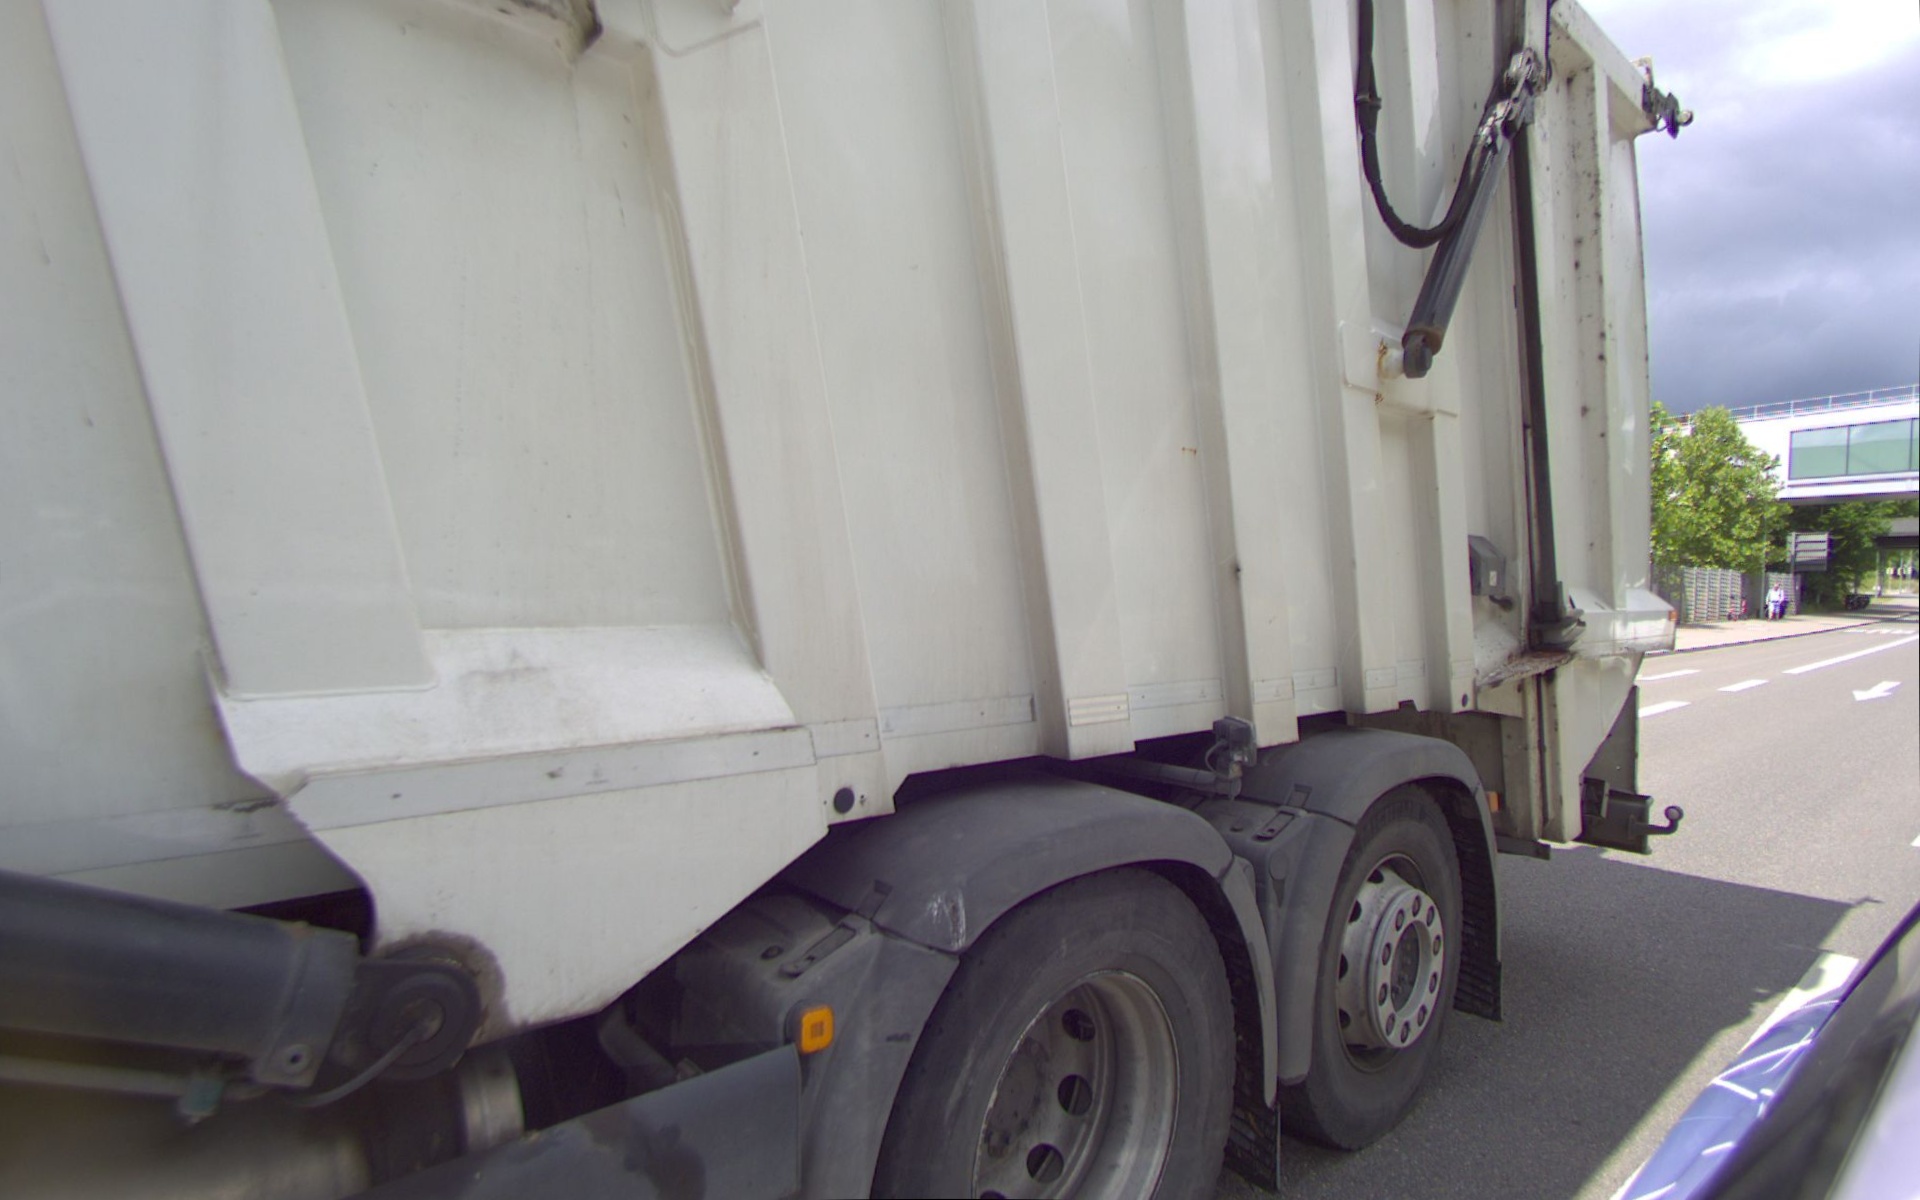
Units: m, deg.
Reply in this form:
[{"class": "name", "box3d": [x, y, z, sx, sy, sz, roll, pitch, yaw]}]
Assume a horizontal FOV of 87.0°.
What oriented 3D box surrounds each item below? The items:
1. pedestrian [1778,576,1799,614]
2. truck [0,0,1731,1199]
[{"class": "pedestrian", "box3d": [42.103, -0.252, 51.402, 0.647, 1.936, 0.738, 0, 0, -42]}, {"class": "truck", "box3d": [-0.848, -0.524, 2.447, 9.999, 3.962, 2.492, -1, 0, -42]}]
